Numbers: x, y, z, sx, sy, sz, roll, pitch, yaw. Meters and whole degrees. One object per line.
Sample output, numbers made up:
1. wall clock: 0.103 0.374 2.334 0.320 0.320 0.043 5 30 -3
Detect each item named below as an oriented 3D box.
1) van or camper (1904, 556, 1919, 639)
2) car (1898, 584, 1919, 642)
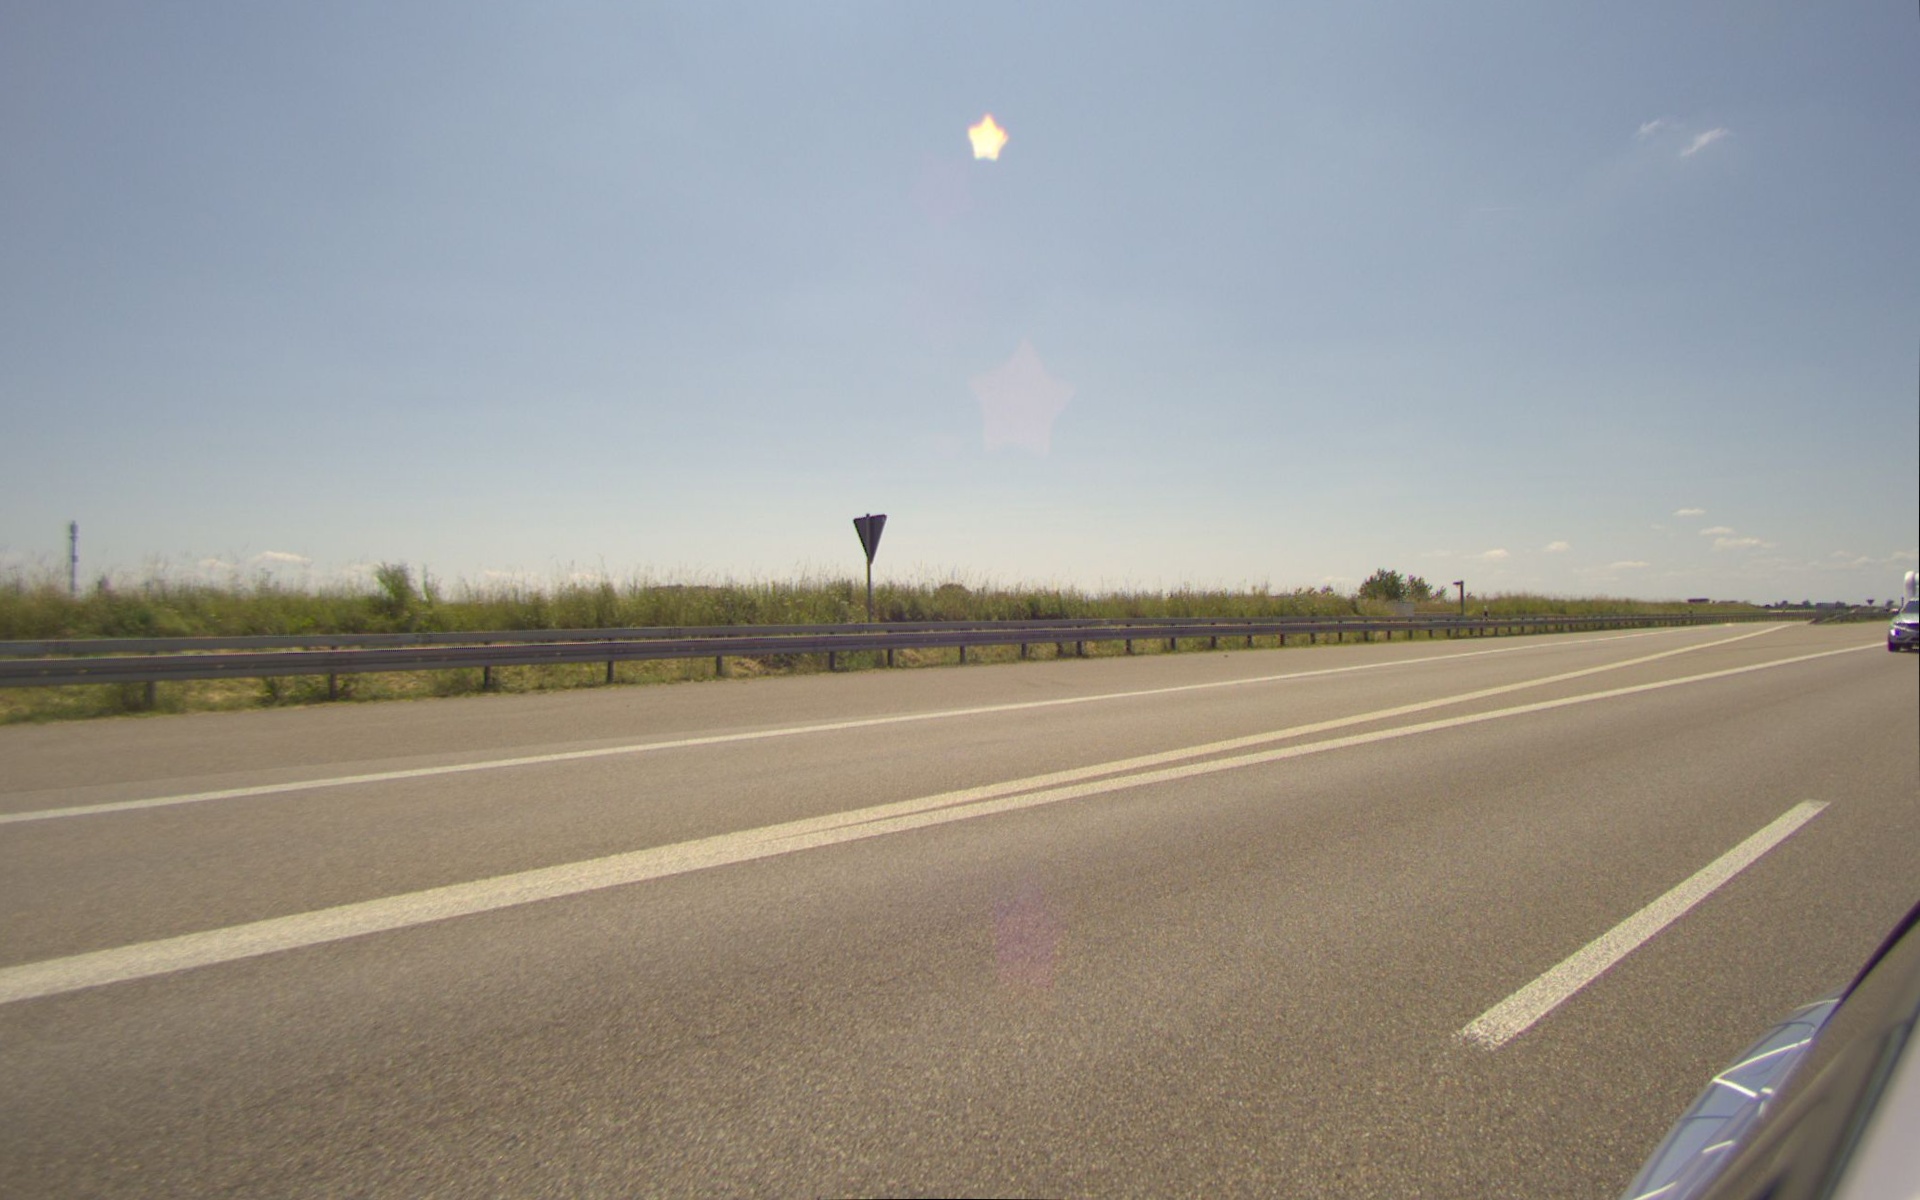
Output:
1. van or camper: 33.893 -0.013 33.890 7.679 2.626 2.517 1 -1 -41
2. car: 29.303 0.413 29.834 4.817 1.643 1.884 1 -1 -41
